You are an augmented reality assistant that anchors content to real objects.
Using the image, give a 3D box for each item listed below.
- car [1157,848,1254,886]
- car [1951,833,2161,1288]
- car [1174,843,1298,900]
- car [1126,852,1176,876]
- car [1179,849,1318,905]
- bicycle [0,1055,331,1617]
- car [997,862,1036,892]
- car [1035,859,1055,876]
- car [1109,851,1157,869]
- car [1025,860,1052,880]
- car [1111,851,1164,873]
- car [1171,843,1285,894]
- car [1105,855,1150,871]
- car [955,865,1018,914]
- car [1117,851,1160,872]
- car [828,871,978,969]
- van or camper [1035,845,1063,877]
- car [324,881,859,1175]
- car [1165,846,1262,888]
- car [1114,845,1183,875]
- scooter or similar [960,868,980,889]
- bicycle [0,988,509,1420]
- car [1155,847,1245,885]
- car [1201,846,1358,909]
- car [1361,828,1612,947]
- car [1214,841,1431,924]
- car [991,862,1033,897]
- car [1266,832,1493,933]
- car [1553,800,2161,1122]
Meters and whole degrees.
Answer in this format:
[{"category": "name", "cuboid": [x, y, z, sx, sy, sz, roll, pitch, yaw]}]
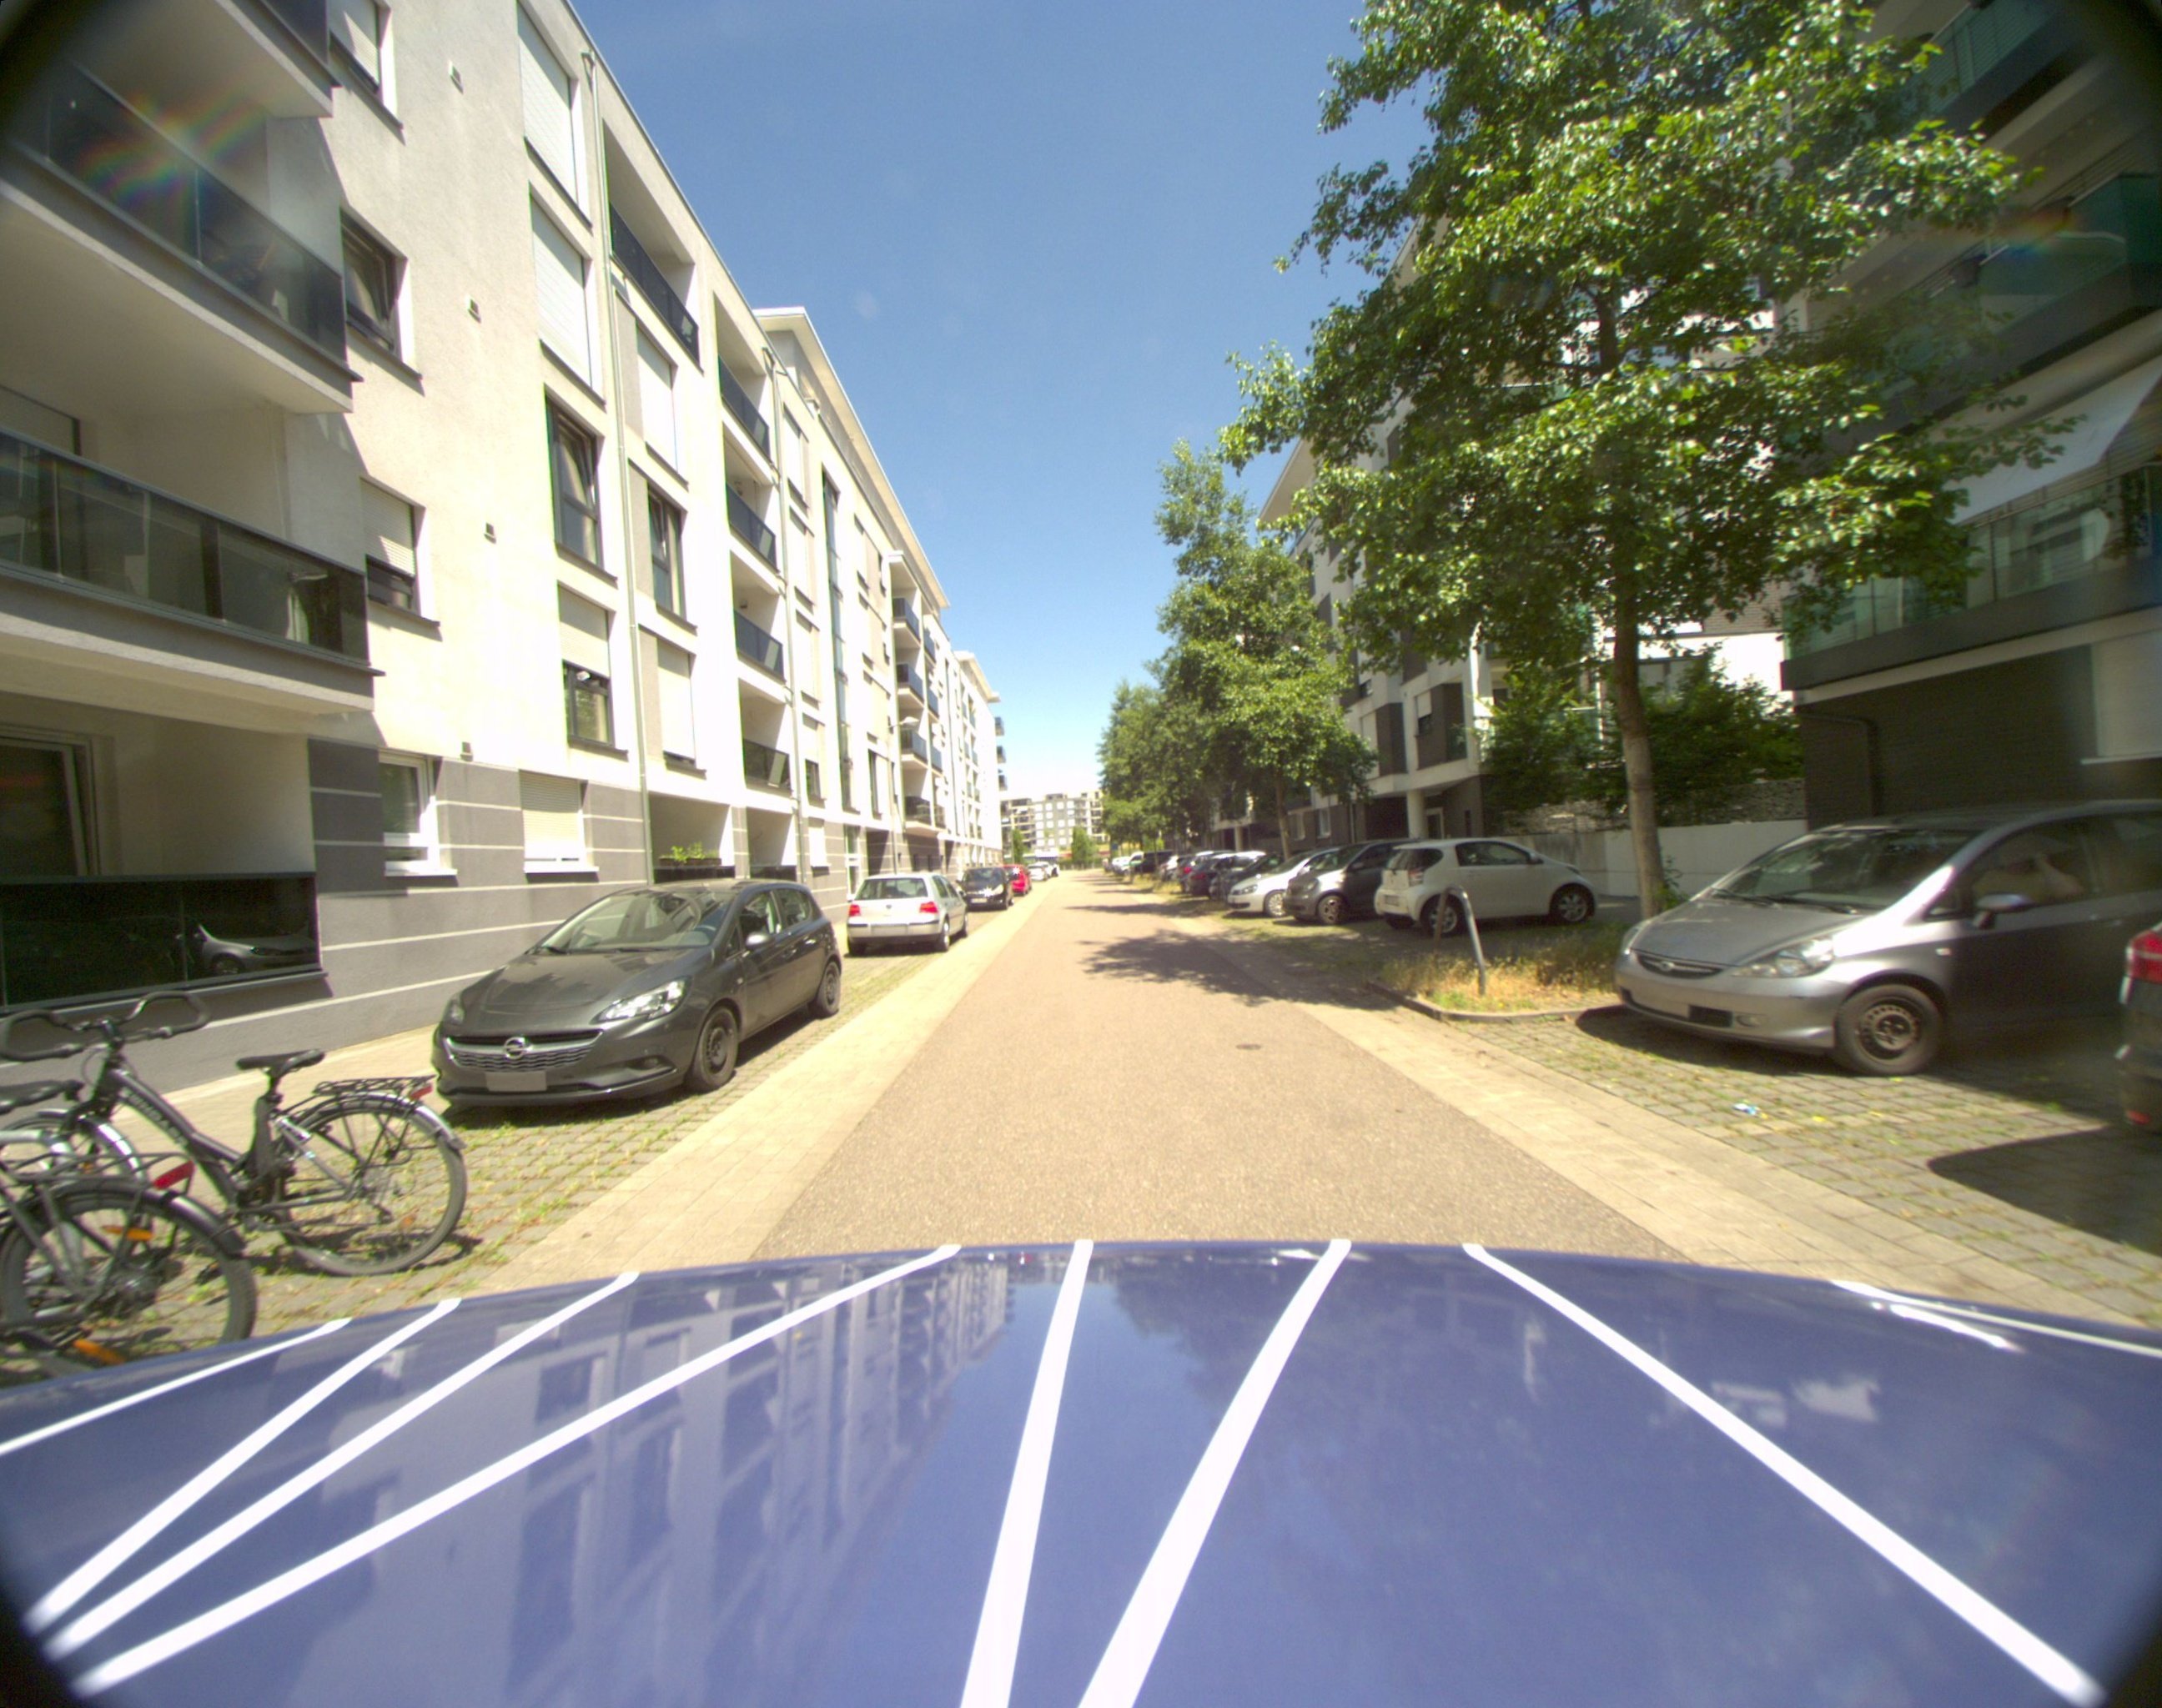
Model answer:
[{"category": "car", "cuboid": [6.068, 0.630, 37.379, 4.327, 1.467, 1.793, -5, 0, 0]}, {"category": "car", "cuboid": [5.710, 0.578, 2.245, 4.192, 1.477, 1.958, -4, 1, -4]}, {"category": "car", "cuboid": [5.488, 0.614, 27.381, 3.997, 1.641, 1.918, -5, 0, 2]}, {"category": "car", "cuboid": [5.390, 0.759, 58.934, 3.632, 1.473, 1.678, -5, 0, -1]}, {"category": "car", "cuboid": [5.389, 0.716, 24.738, 3.985, 1.437, 1.775, -5, 0, -4]}, {"category": "bicycle", "cuboid": [-3.357, 1.242, 2.060, 1.791, 1.097, 0.746, -2, 0, -4]}, {"category": "car", "cuboid": [-3.454, 1.224, 41.463, 1.742, 1.478, 4.258, -2, 0, 0]}, {"category": "car", "cuboid": [-3.380, 1.283, 71.647, 1.812, 1.496, 4.260, -2, 0, -2]}, {"category": "car", "cuboid": [5.706, 0.715, 84.480, 5.042, 1.622, 2.042, -4, 0, -3]}, {"category": "car", "cuboid": [-3.455, 1.313, 62.633, 1.850, 1.408, 4.426, -4, 0, 1]}, {"category": "car", "cuboid": [5.332, 0.766, 71.902, 4.571, 1.584, 1.966, -5, 0, -5]}, {"category": "car", "cuboid": [5.727, 0.542, 29.907, 3.997, 1.620, 1.933, -5, 0, 0]}, {"category": "car", "cuboid": [5.461, 1.030, 89.541, 5.112, 1.476, 1.927, -4, 1, -3]}, {"category": "car", "cuboid": [-3.165, 1.161, 26.158, 1.647, 1.454, 4.117, -2, 0, -1]}, {"category": "car", "cuboid": [5.601, 0.717, 74.534, 3.990, 1.619, 1.950, -5, 0, 2]}, {"category": "car", "cuboid": [-3.247, 1.140, 14.770, 1.839, 1.496, 4.350, -2, 0, 0]}, {"category": "van or camper", "cuboid": [-3.194, 0.638, 77.932, 2.445, 2.889, 7.825, -4, 0, -1]}, {"category": "car", "cuboid": [-3.409, 1.069, 6.451, 1.743, 1.476, 4.229, -2, 0, 0]}, {"category": "car", "cuboid": [6.016, 0.586, 34.818, 3.997, 1.582, 1.884, -5, 0, 0]}, {"category": "car", "cuboid": [5.451, 0.507, 61.728, 5.355, 2.098, 2.187, -3, 0, 2]}, {"category": "scooter or similar", "cuboid": [-6.753, 1.492, 46.259, 0.546, 1.218, 1.531, -4, 0, 15]}, {"category": "bicycle", "cuboid": [-3.371, 1.211, 2.806, 1.875, 1.210, 0.715, -2, 0, -4]}, {"category": "car", "cuboid": [6.186, 0.604, 39.825, 4.263, 1.509, 1.924, -6, 0, -1]}, {"category": "car", "cuboid": [5.713, 0.670, 22.260, 3.997, 1.414, 1.897, -5, 0, 1]}, {"category": "car", "cuboid": [6.419, 0.510, 12.304, 2.940, 1.491, 1.848, -6, 0, -1]}, {"category": "car", "cuboid": [5.504, 0.633, 17.722, 4.372, 1.700, 2.000, -2, 0, -3]}, {"category": "car", "cuboid": [-3.232, 1.174, 35.927, 1.599, 1.477, 3.675, -2, 0, 0]}, {"category": "car", "cuboid": [5.907, 0.534, 15.306, 3.719, 1.576, 1.820, -5, 0, -5]}, {"category": "car", "cuboid": [5.797, 0.548, 5.141, 3.948, 1.544, 1.872, -5, 0, -1]}]
